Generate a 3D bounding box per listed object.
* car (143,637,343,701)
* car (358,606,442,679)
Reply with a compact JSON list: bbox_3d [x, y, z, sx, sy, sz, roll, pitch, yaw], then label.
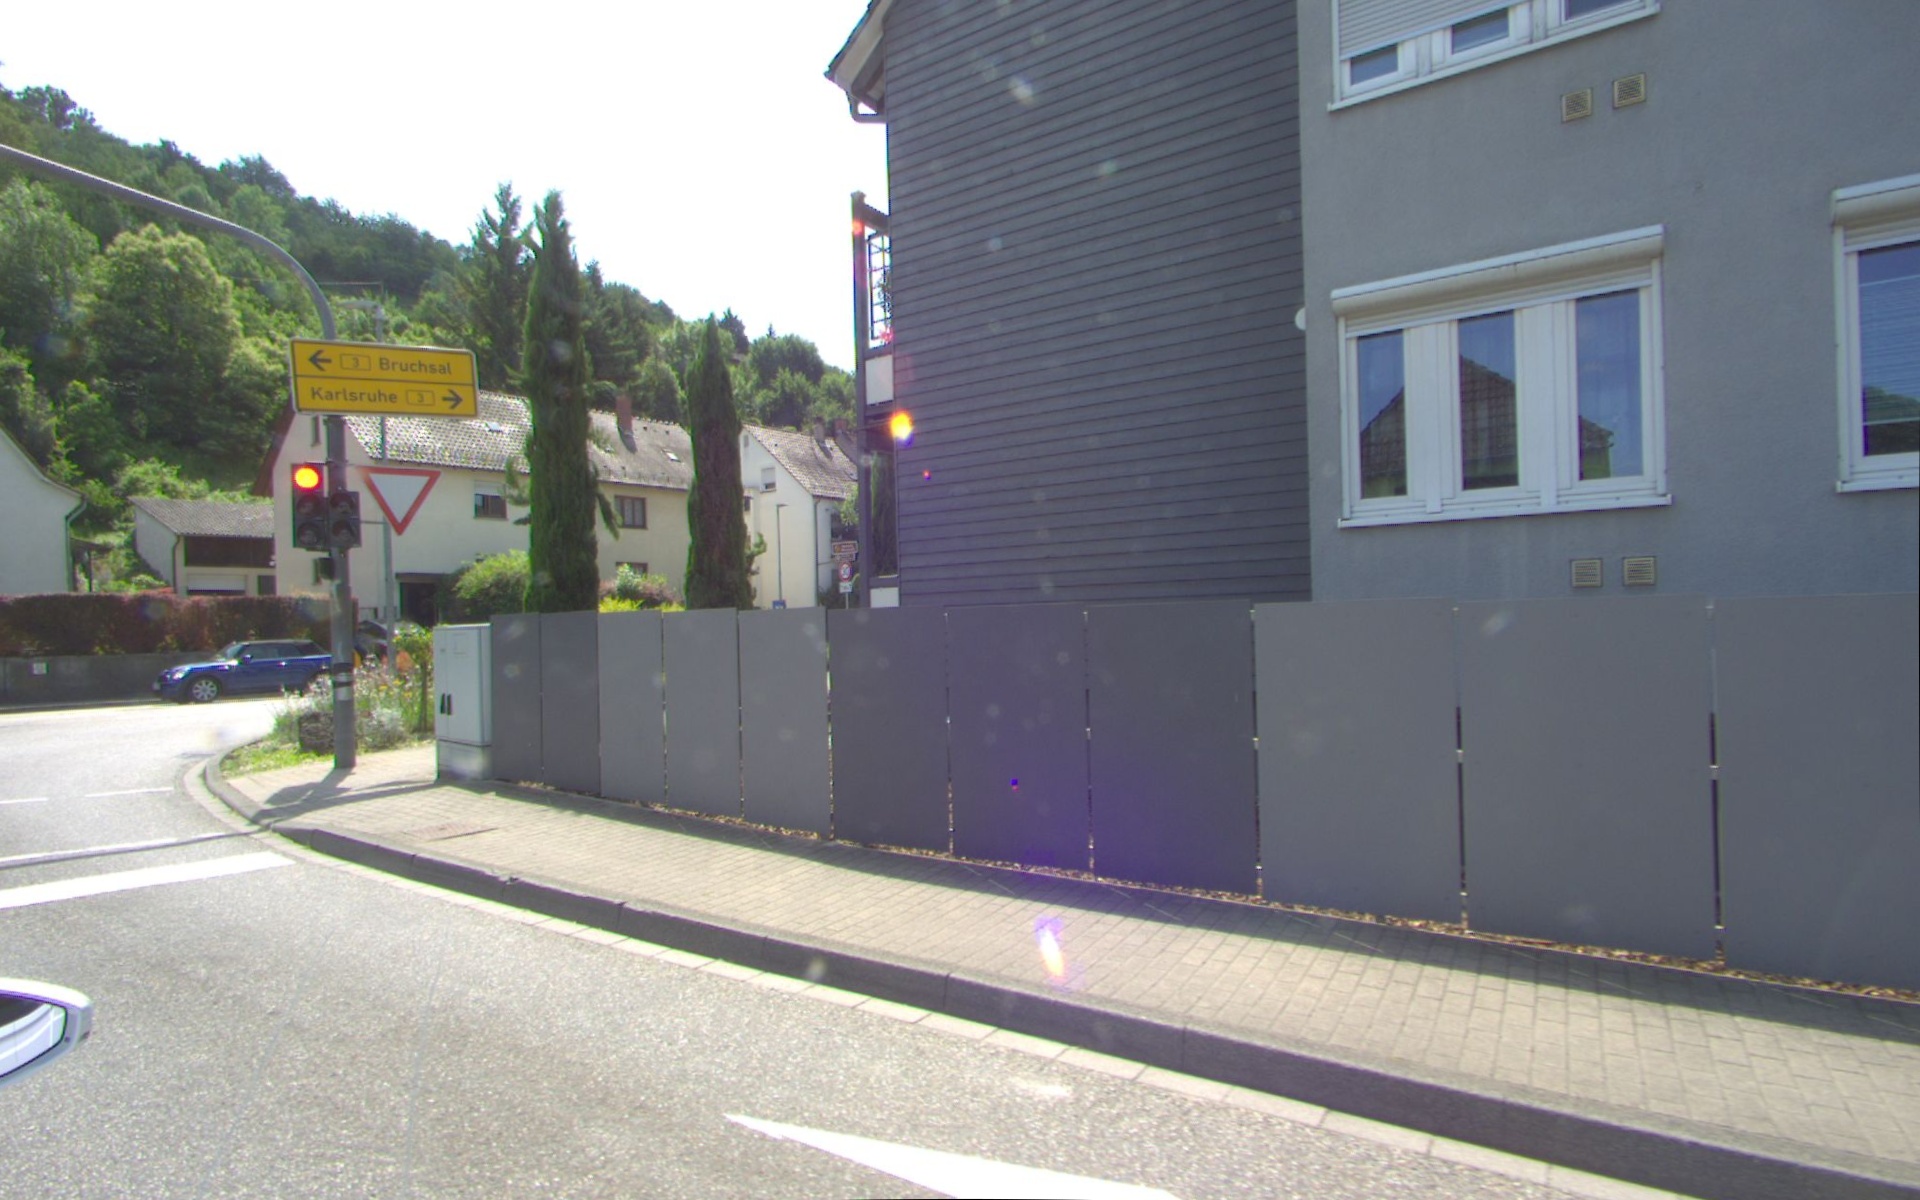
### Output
[{"bbox_3d":[-17.110,1.618,24.033,1.624,1.379,3.597,-5,-4,36],"label":"car"},{"bbox_3d":[-17.892,1.290,31.923,1.780,1.410,3.650,0,12,-38],"label":"car"}]
